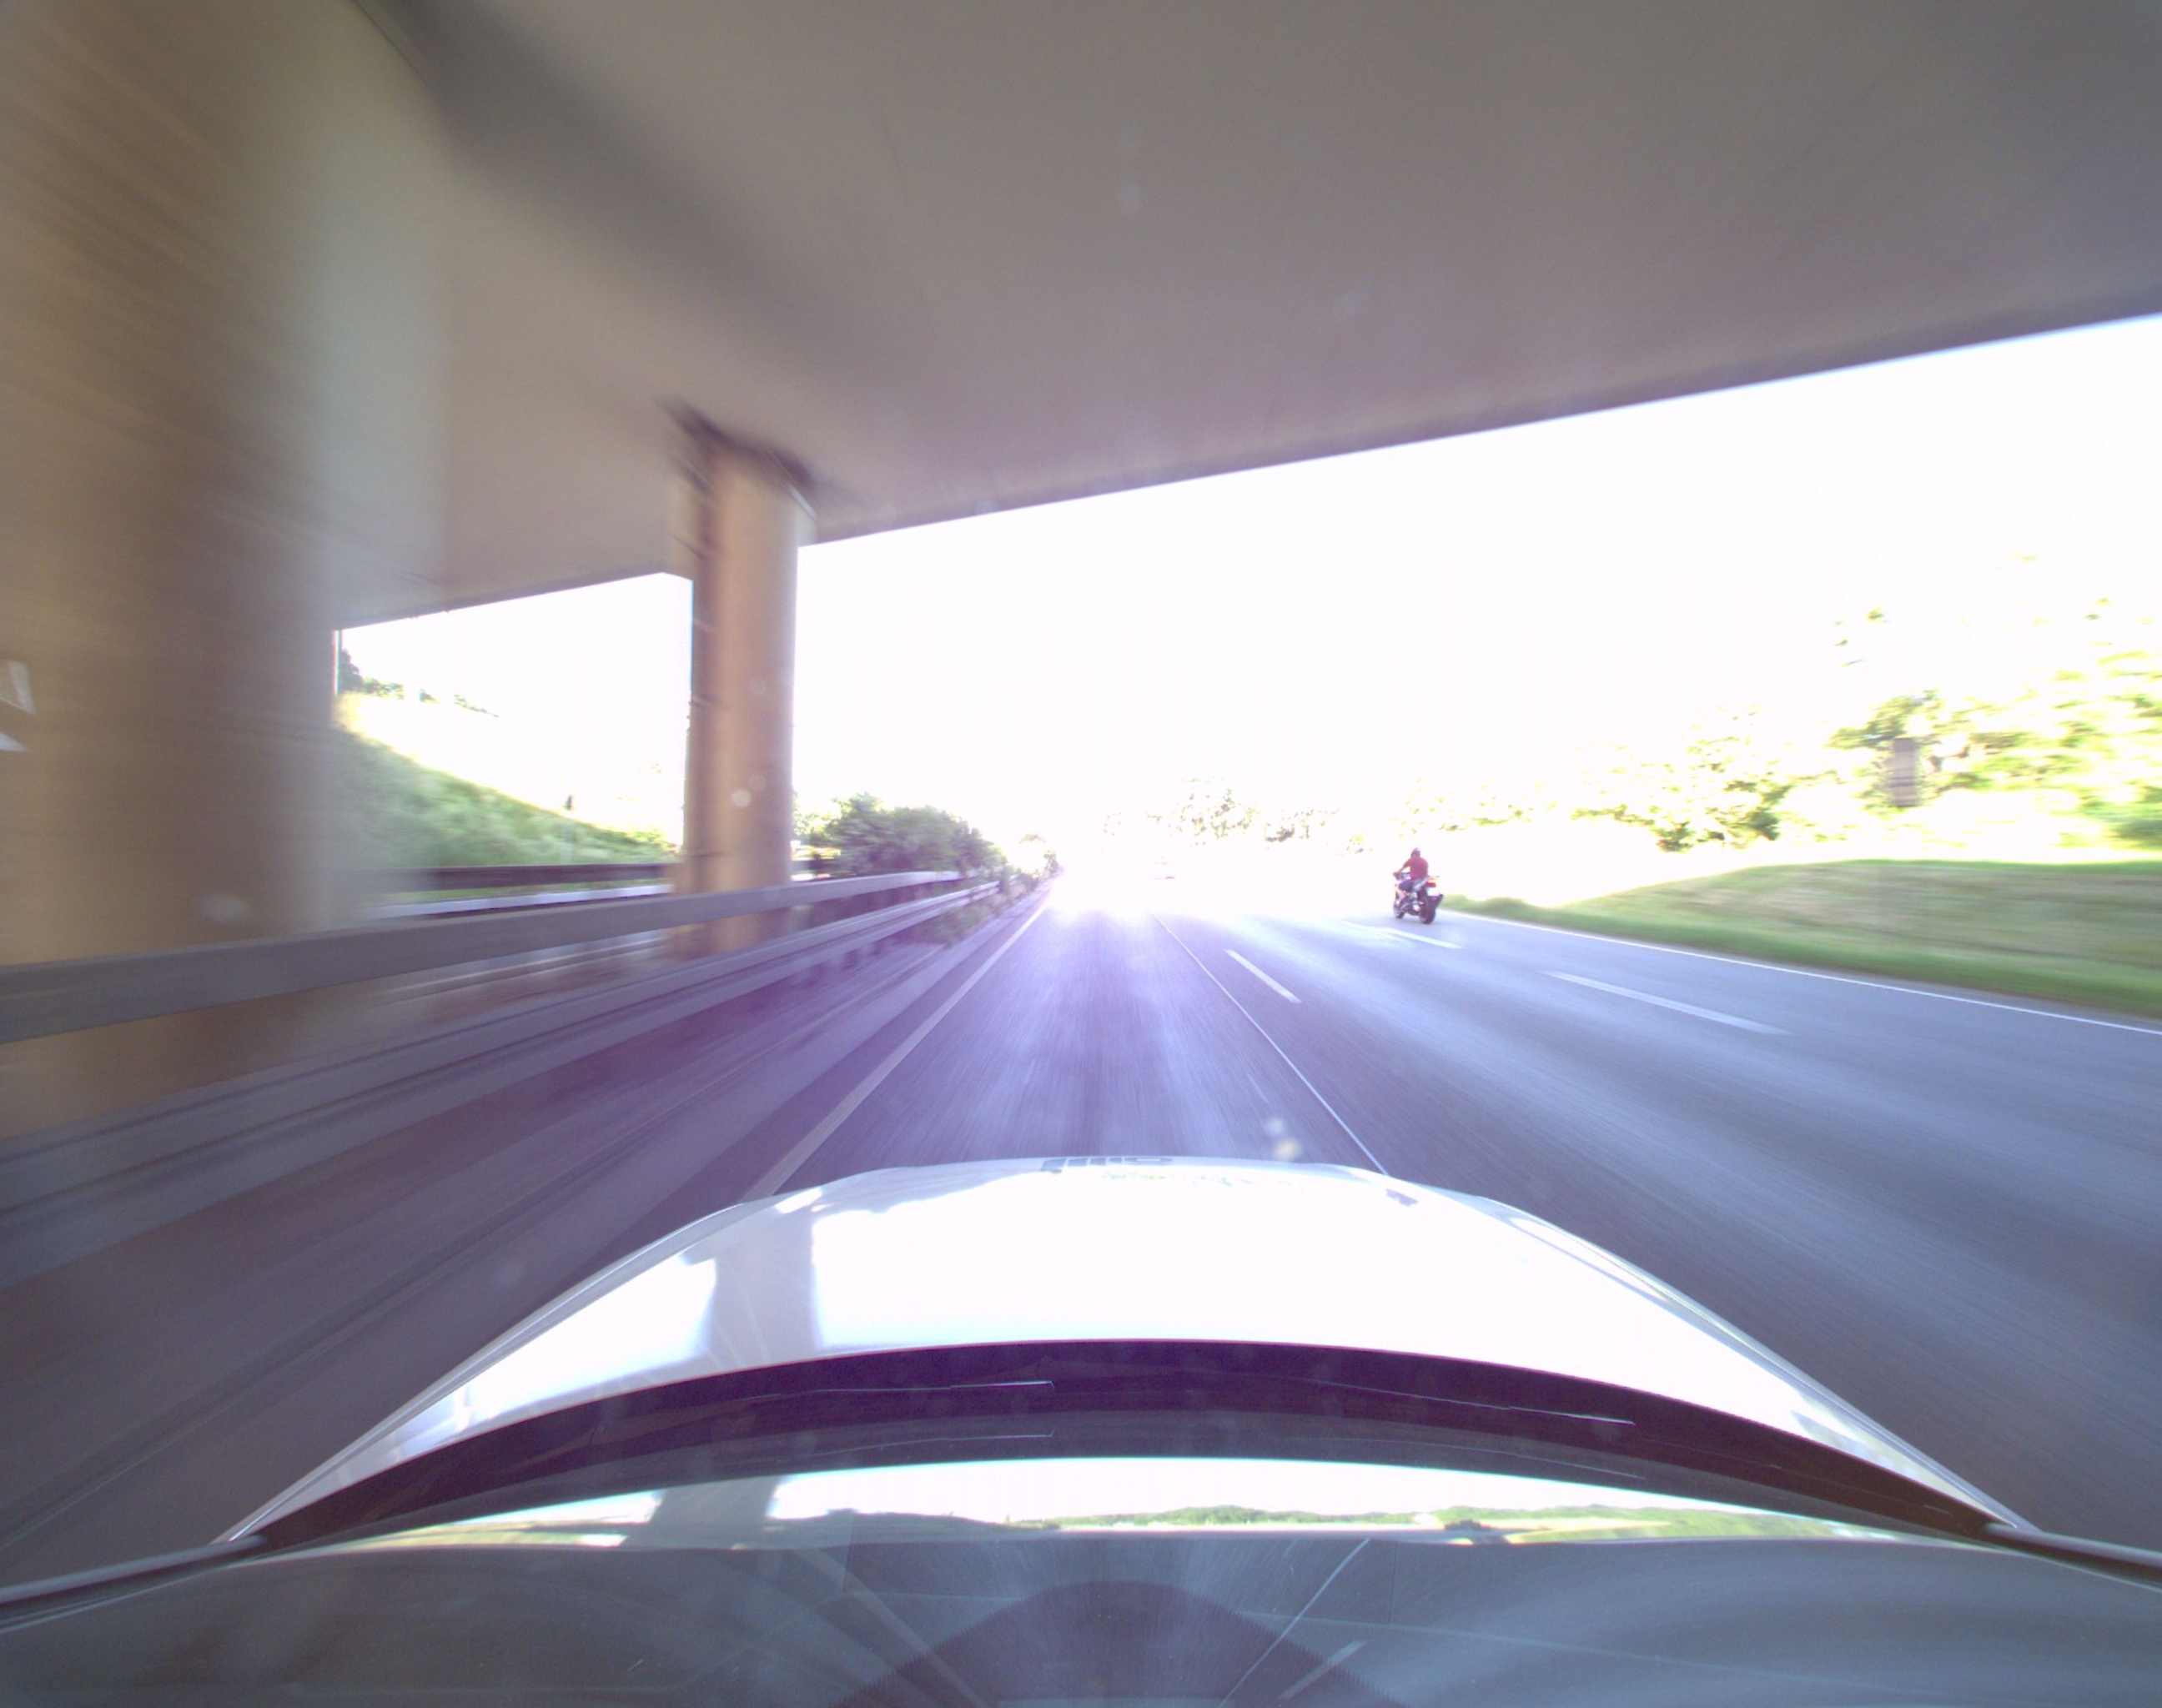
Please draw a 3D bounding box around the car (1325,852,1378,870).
[{"bbox_3d":[23.634,0.638,71.187,3.925,1.460,1.920,1,-3,-5],"label":"car"}]

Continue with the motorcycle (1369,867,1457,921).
[{"bbox_3d":[7.273,0.836,18.011,0.814,1.069,2.835,0,0,0],"label":"motorcycle"}]

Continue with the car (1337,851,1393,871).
[{"bbox_3d":[23.849,0.568,68.464,4.103,1.559,1.920,1,-3,-5],"label":"car"}]

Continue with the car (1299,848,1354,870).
[{"bbox_3d":[23.874,0.528,79.384,4.781,2.023,2.022,1,-3,-5],"label":"car"}]

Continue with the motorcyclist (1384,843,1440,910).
[{"bbox_3d":[7.274,0.483,17.952,0.814,1.447,1.093,0,0,0],"label":"motorcyclist"}]

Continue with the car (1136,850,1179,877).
[{"bbox_3d":[4.415,0.498,47.295,1.893,1.471,3.995,-1,0,-3],"label":"car"}]

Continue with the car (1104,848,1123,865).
[{"bbox_3d":[3.608,0.276,90.509,1.891,1.767,3.999,-1,0,-1],"label":"car"}]

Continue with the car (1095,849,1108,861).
[{"bbox_3d":[3.012,0.120,118.993,1.890,1.767,4.001,-1,0,1],"label":"car"}]
